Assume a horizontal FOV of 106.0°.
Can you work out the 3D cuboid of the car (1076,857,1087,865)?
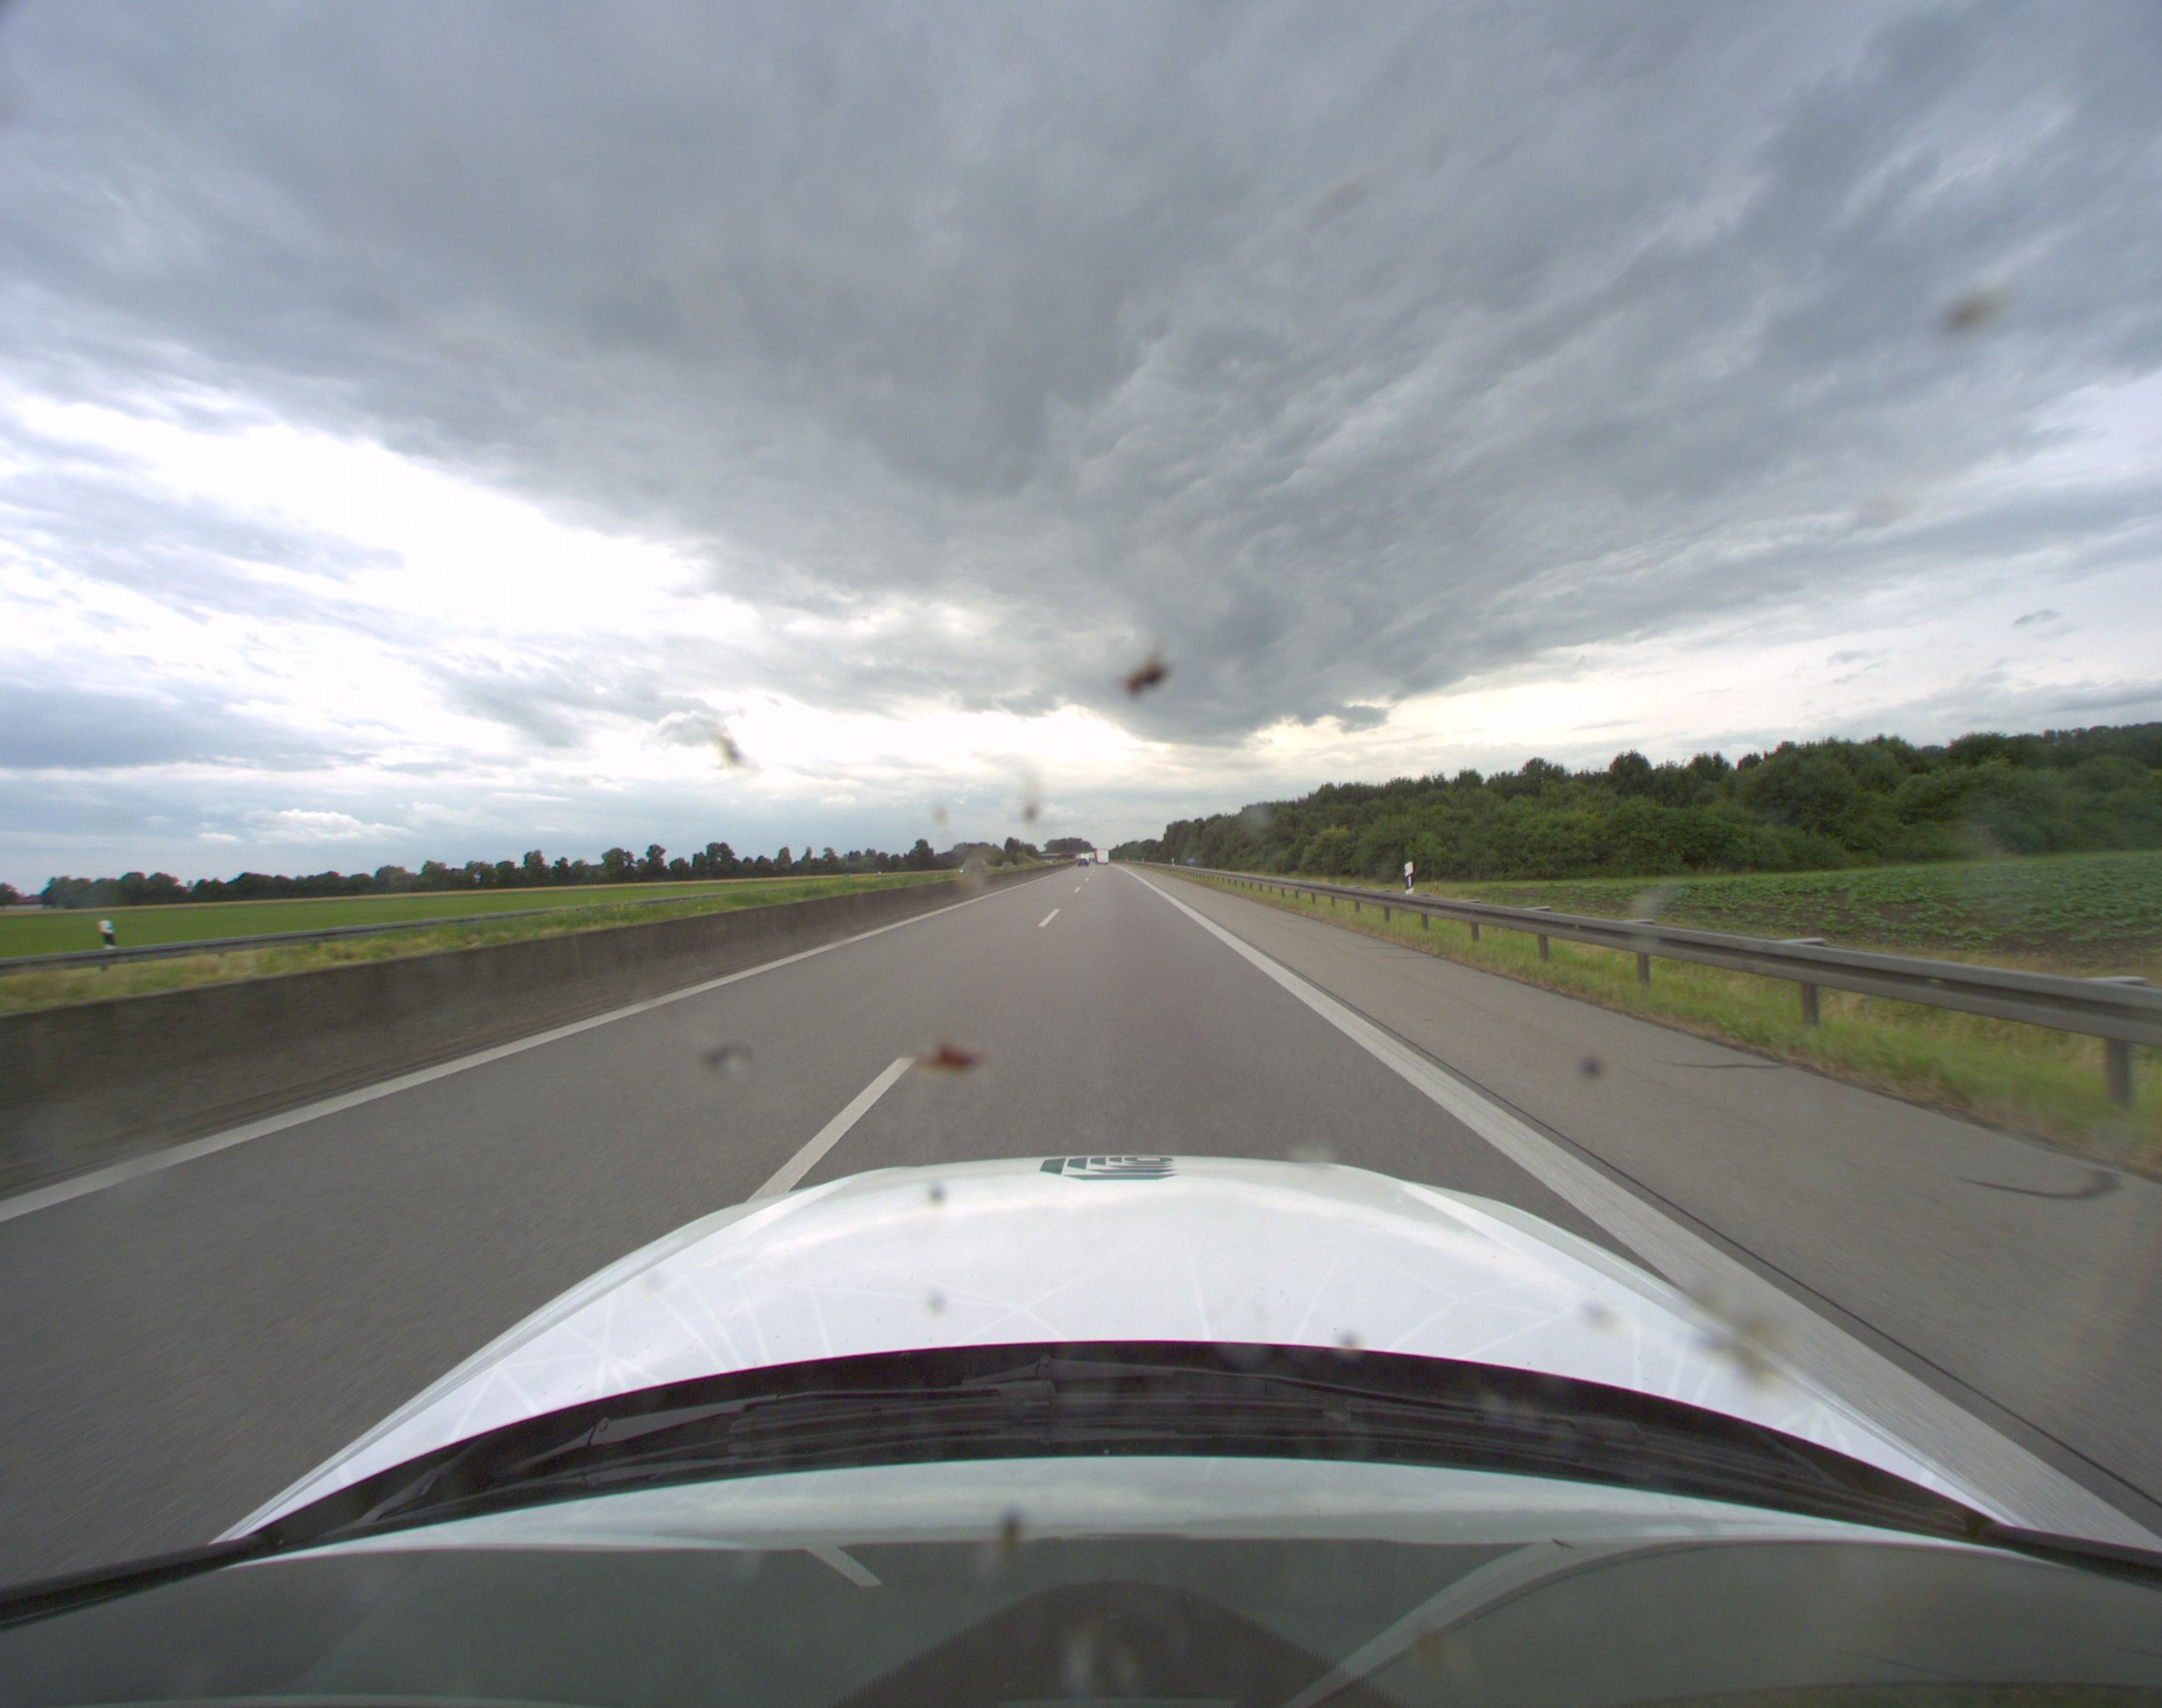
[{"bbox_3d":[0.074,1.212,139.656,1.659,1.407,3.646,-1,-1,-1],"label":"car"}]

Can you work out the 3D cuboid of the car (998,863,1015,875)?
[{"bbox_3d":[-10.548,2.149,115.141,1.783,1.472,4.905,-4,0,1],"label":"car"}]

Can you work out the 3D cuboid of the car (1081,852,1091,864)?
[{"bbox_3d":[1.054,0.879,181.956,2.123,2.483,5.840,-2,-1,1],"label":"car"}]

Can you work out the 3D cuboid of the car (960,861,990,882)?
[{"bbox_3d":[-8.167,1.305,62.999,1.683,1.491,4.184,-2,0,1],"label":"car"}]

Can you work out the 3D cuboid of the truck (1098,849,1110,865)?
[{"bbox_3d":[5.026,0.661,178.114,2.407,3.222,7.142,-1,-1,0],"label":"truck"}]

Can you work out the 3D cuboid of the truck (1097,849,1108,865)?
[{"bbox_3d":[5.956,0.771,224.668,2.663,4.045,11.110,-2,0,1],"label":"truck"}]
